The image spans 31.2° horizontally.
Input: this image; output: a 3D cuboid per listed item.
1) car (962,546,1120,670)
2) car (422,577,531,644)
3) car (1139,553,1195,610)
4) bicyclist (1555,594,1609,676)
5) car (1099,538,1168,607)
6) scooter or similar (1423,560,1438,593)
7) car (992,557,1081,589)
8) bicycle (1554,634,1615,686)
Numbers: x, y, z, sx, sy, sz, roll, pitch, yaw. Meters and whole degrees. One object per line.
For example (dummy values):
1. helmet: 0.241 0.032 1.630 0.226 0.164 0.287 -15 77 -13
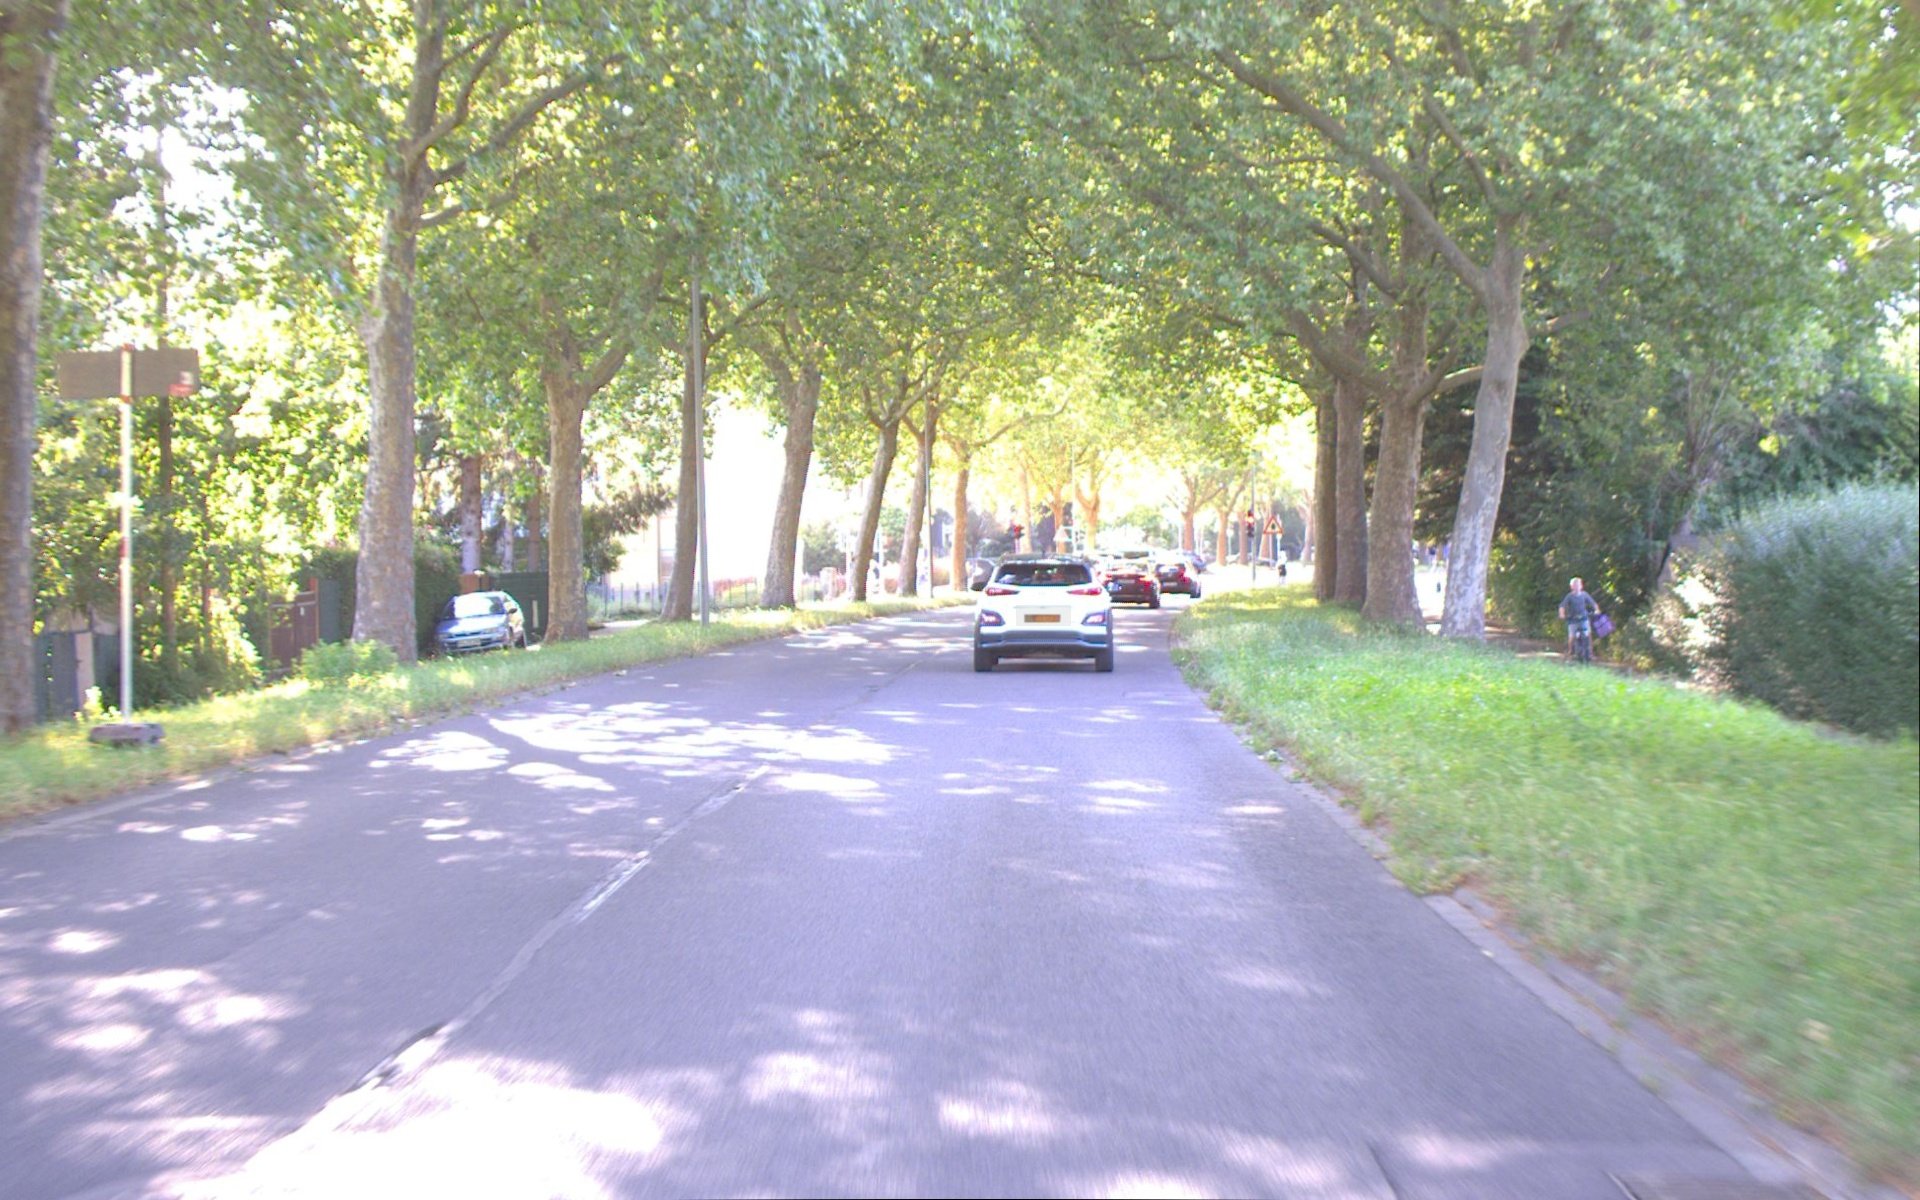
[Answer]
1. car: 1.128 0.090 45.937 1.994 1.569 4.000 0 0 3
2. car: -10.549 0.208 75.198 1.752 1.300 4.000 -2 2 0
3. car: 7.541 -0.673 125.172 1.994 2.007 3.999 0 0 3
4. bicyclist: 10.410 0.589 57.558 0.734 1.361 0.771 0 0 -3
5. car: 5.192 -0.821 102.590 1.994 2.007 3.999 0 0 3
6. scooter or similar: 18.382 -0.918 134.280 0.549 1.254 2.312 0 0 7
7. car: 3.595 -1.264 161.467 3.988 1.473 1.999 0 0 7
8. bicycle: 10.407 0.993 57.348 0.552 0.814 1.889 0 0 -4
